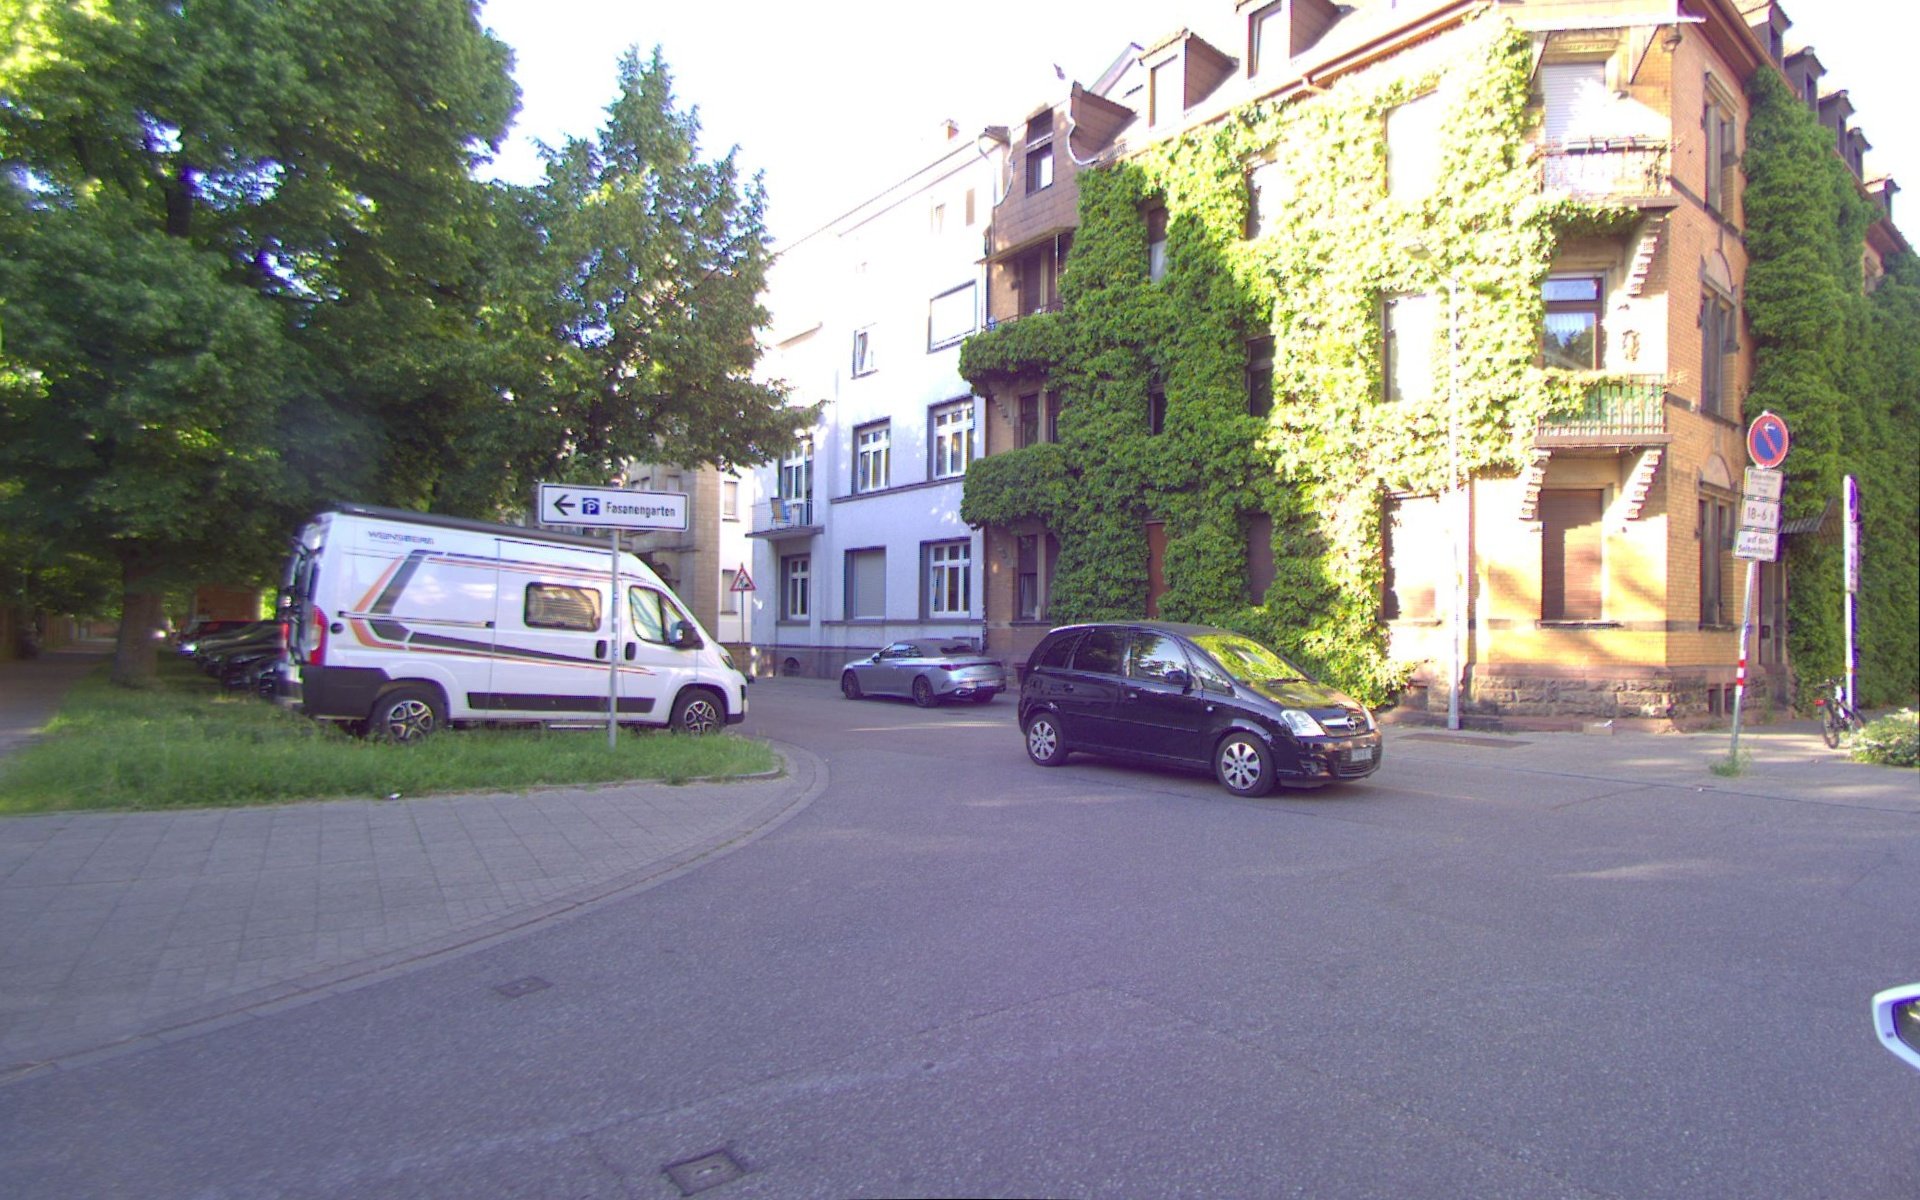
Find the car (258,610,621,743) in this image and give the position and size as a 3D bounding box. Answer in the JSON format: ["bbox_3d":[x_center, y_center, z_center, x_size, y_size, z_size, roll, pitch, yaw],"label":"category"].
[{"bbox_3d":[-7.324,1.007,14.375,4.267,1.596,1.955,2,-1,-41],"label":"car"}]

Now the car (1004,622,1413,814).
[{"bbox_3d":[2.408,1.055,10.553,1.637,1.611,3.972,0,-2,-41],"label":"car"}]

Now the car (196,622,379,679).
[{"bbox_3d":[-18.025,1.338,26.993,3.851,1.395,1.955,2,-1,-41],"label":"car"}]

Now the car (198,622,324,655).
[{"bbox_3d":[-27.251,1.507,39.200,3.851,1.170,1.764,3,-1,-41],"label":"car"}]

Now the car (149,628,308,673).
[{"bbox_3d":[-22.647,1.539,31.158,3.851,1.273,1.764,3,-1,-41],"label":"car"}]

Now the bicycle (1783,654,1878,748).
[{"bbox_3d":[12.605,1.435,14.537,1.584,1.285,0.560,2,-2,-31],"label":"bicycle"}]

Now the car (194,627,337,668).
[{"bbox_3d":[-23.857,1.631,34.571,3.851,1.273,1.764,3,-1,-41],"label":"car"}]

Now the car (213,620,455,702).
[{"bbox_3d":[-12.460,1.175,20.100,3.851,1.461,1.955,2,-3,-41],"label":"car"}]

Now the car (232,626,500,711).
[{"bbox_3d":[-10.580,1.169,18.016,3.851,1.359,1.955,2,-3,-41],"label":"car"}]

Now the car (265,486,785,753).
[{"bbox_3d":[-5.225,0.282,12.674,5.589,2.648,2.212,2,-1,-41],"label":"car"}]

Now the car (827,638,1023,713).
[{"bbox_3d":[-0.911,1.620,22.808,1.868,1.423,4.868,0,-1,-40],"label":"car"}]

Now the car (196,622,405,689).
[{"bbox_3d":[-15.428,1.270,23.586,3.851,1.395,1.955,2,-1,-41],"label":"car"}]
